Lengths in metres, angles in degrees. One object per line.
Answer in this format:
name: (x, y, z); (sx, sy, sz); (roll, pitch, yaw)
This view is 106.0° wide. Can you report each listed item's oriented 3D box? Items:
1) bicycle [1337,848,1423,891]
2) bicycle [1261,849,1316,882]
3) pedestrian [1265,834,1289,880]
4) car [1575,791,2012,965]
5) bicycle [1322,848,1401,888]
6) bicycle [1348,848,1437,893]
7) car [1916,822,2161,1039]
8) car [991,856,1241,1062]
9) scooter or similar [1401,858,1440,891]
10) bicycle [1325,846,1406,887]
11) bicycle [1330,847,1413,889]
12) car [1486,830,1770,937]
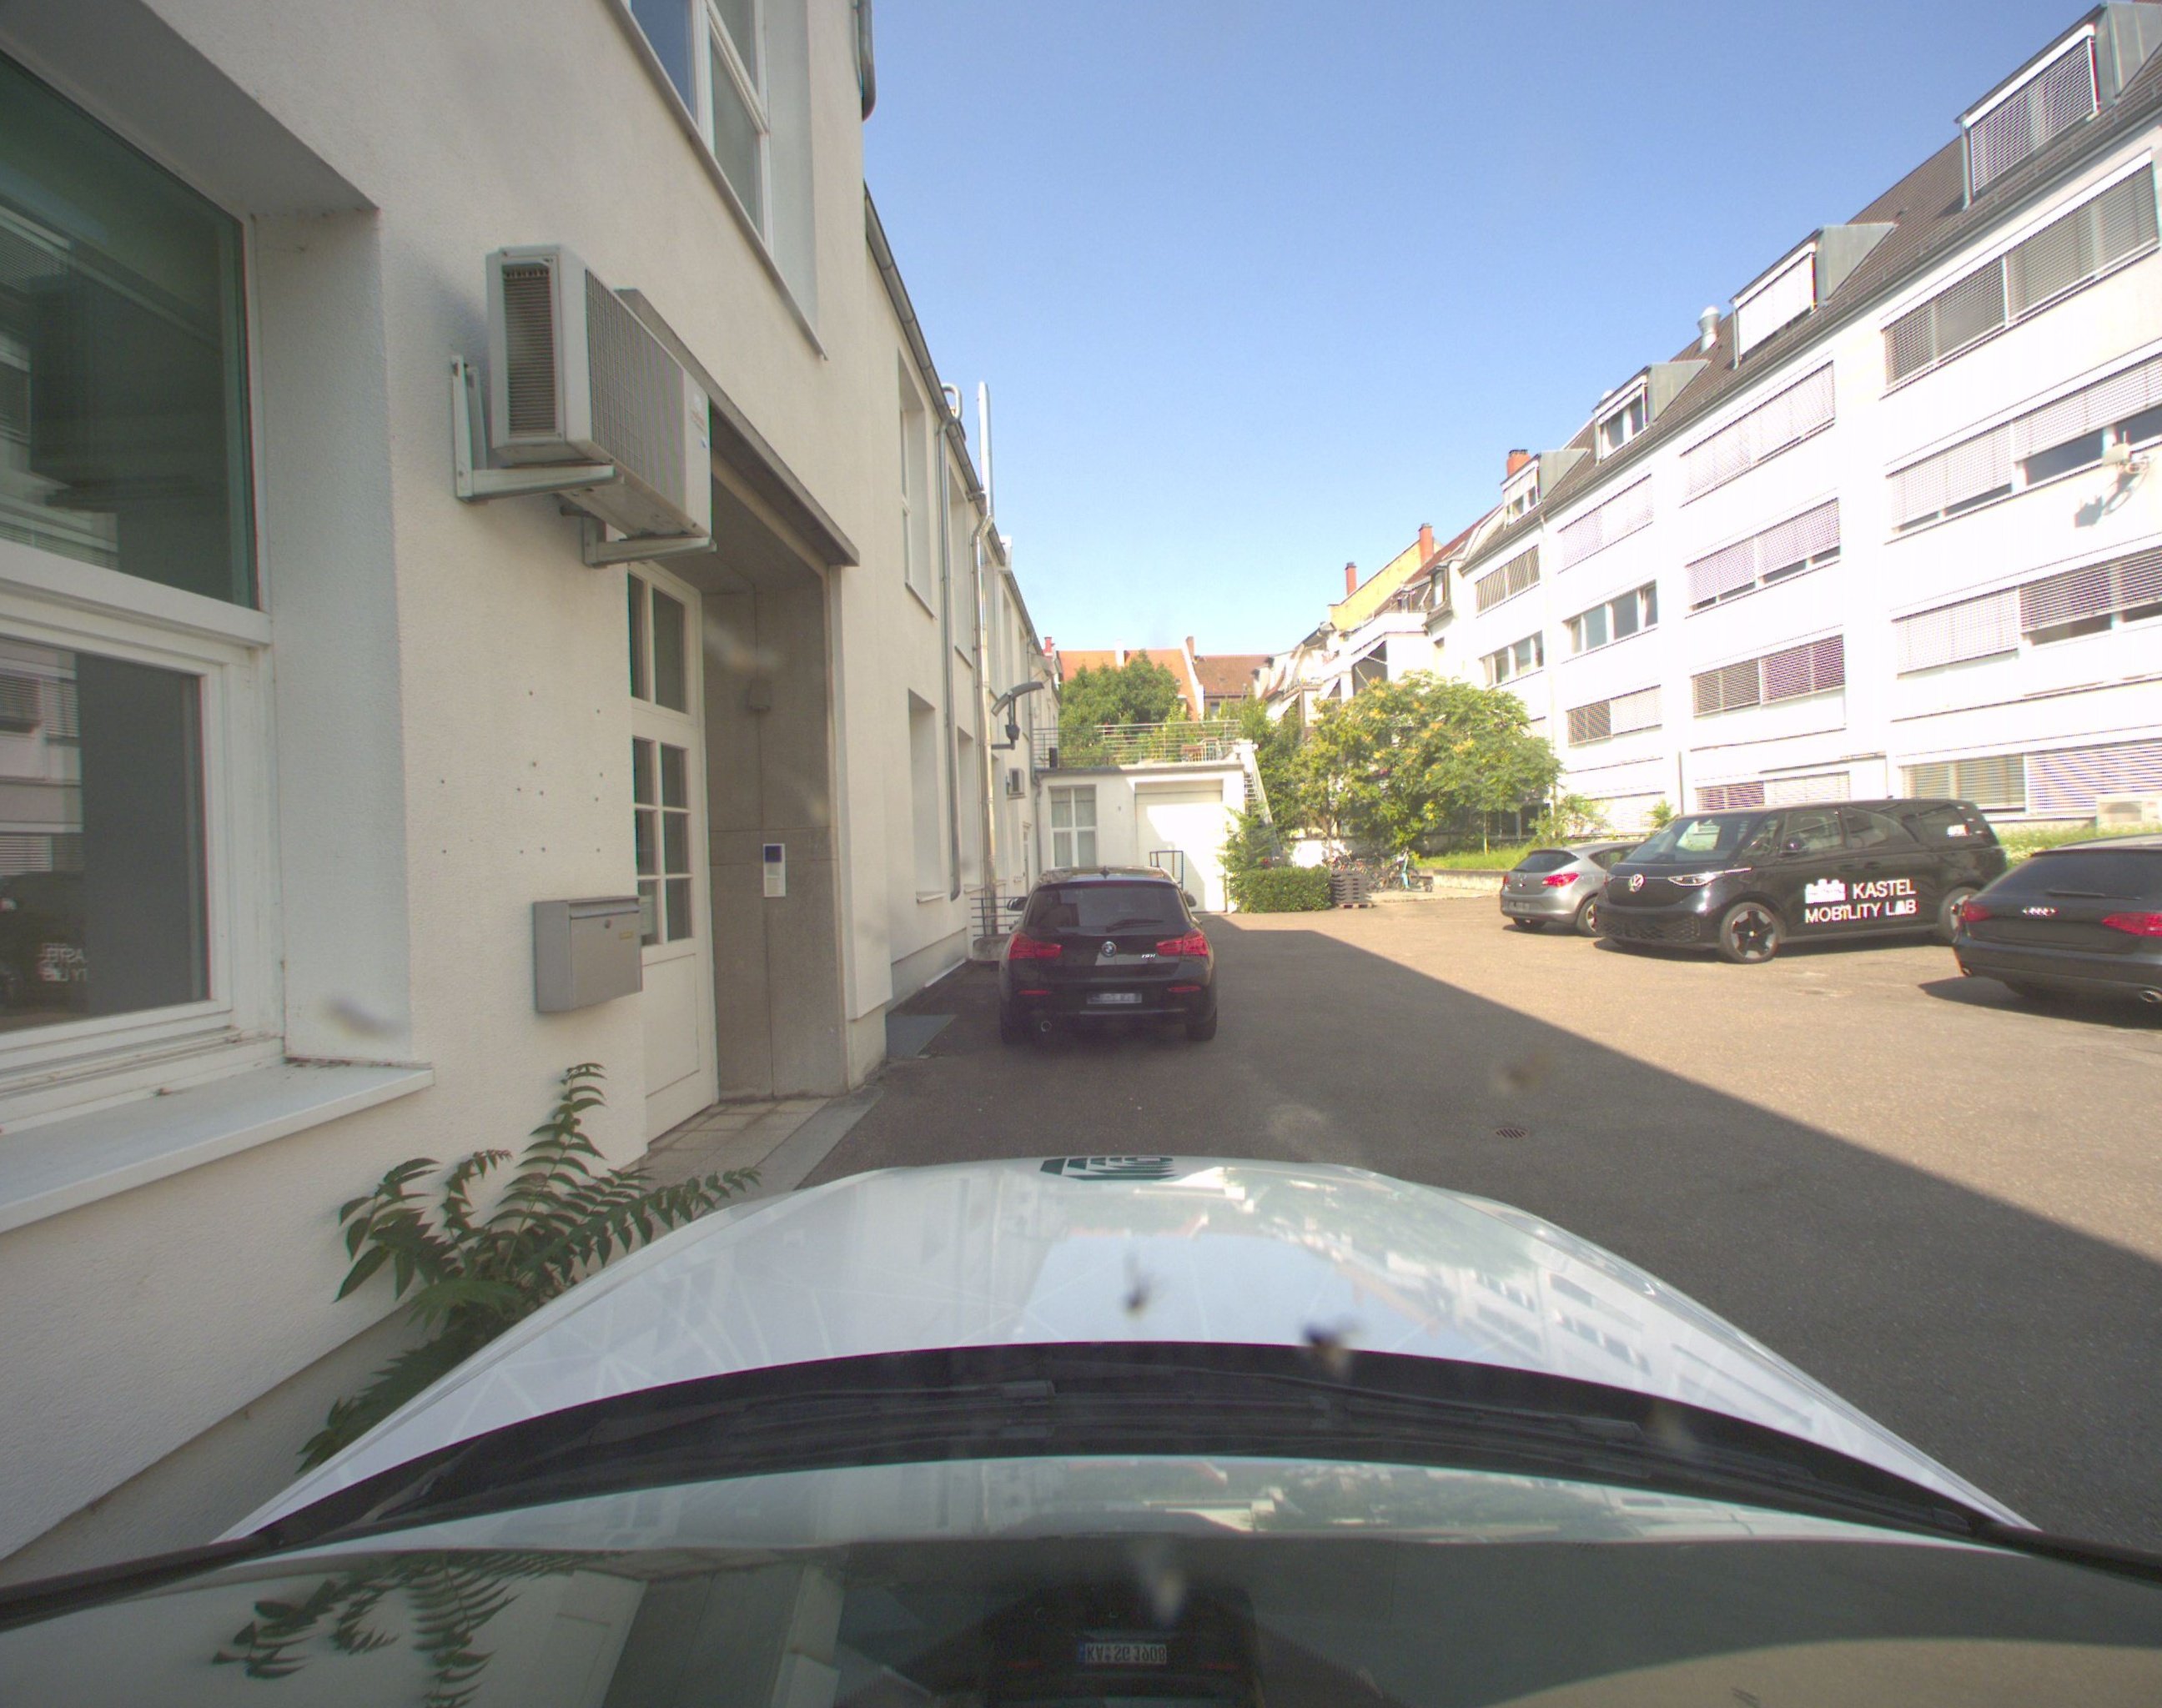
bicycle: (9.178, 0.477, 25.028); (2.401, 1.246, 0.527); (-2, 0, 2)
bicycle: (8.080, 0.447, 31.798); (1.984, 1.143, 0.489); (-3, 0, -5)
pedestrian: (7.700, 0.118, 32.032); (0.608, 1.771, 0.859); (-2, 0, -6)
car: (9.194, 0.253, 10.712); (4.331, 1.859, 1.910); (-3, 0, -7)
bicycle: (9.312, 0.455, 27.090); (2.401, 1.246, 0.527); (-2, 0, 2)
bicycle: (9.261, 0.491, 24.257); (2.401, 1.246, 0.527); (-2, 0, 2)
car: (9.528, 0.448, 6.369); (4.218, 1.437, 1.691); (-3, 0, 0)
car: (0.259, 0.769, 8.004); (1.787, 1.428, 4.136); (-2, 0, 0)
scooter or similar: (9.953, 0.595, 23.870); (0.362, 0.924, 0.988); (-2, 0, -35)
bicycle: (9.209, 0.412, 26.402); (2.401, 1.246, 0.527); (-2, 0, 2)
bicycle: (9.196, 0.437, 25.797); (2.401, 1.246, 0.527); (-2, 0, 2)
car: (9.076, 0.437, 13.624); (3.898, 1.466, 1.657); (-3, 0, -11)
